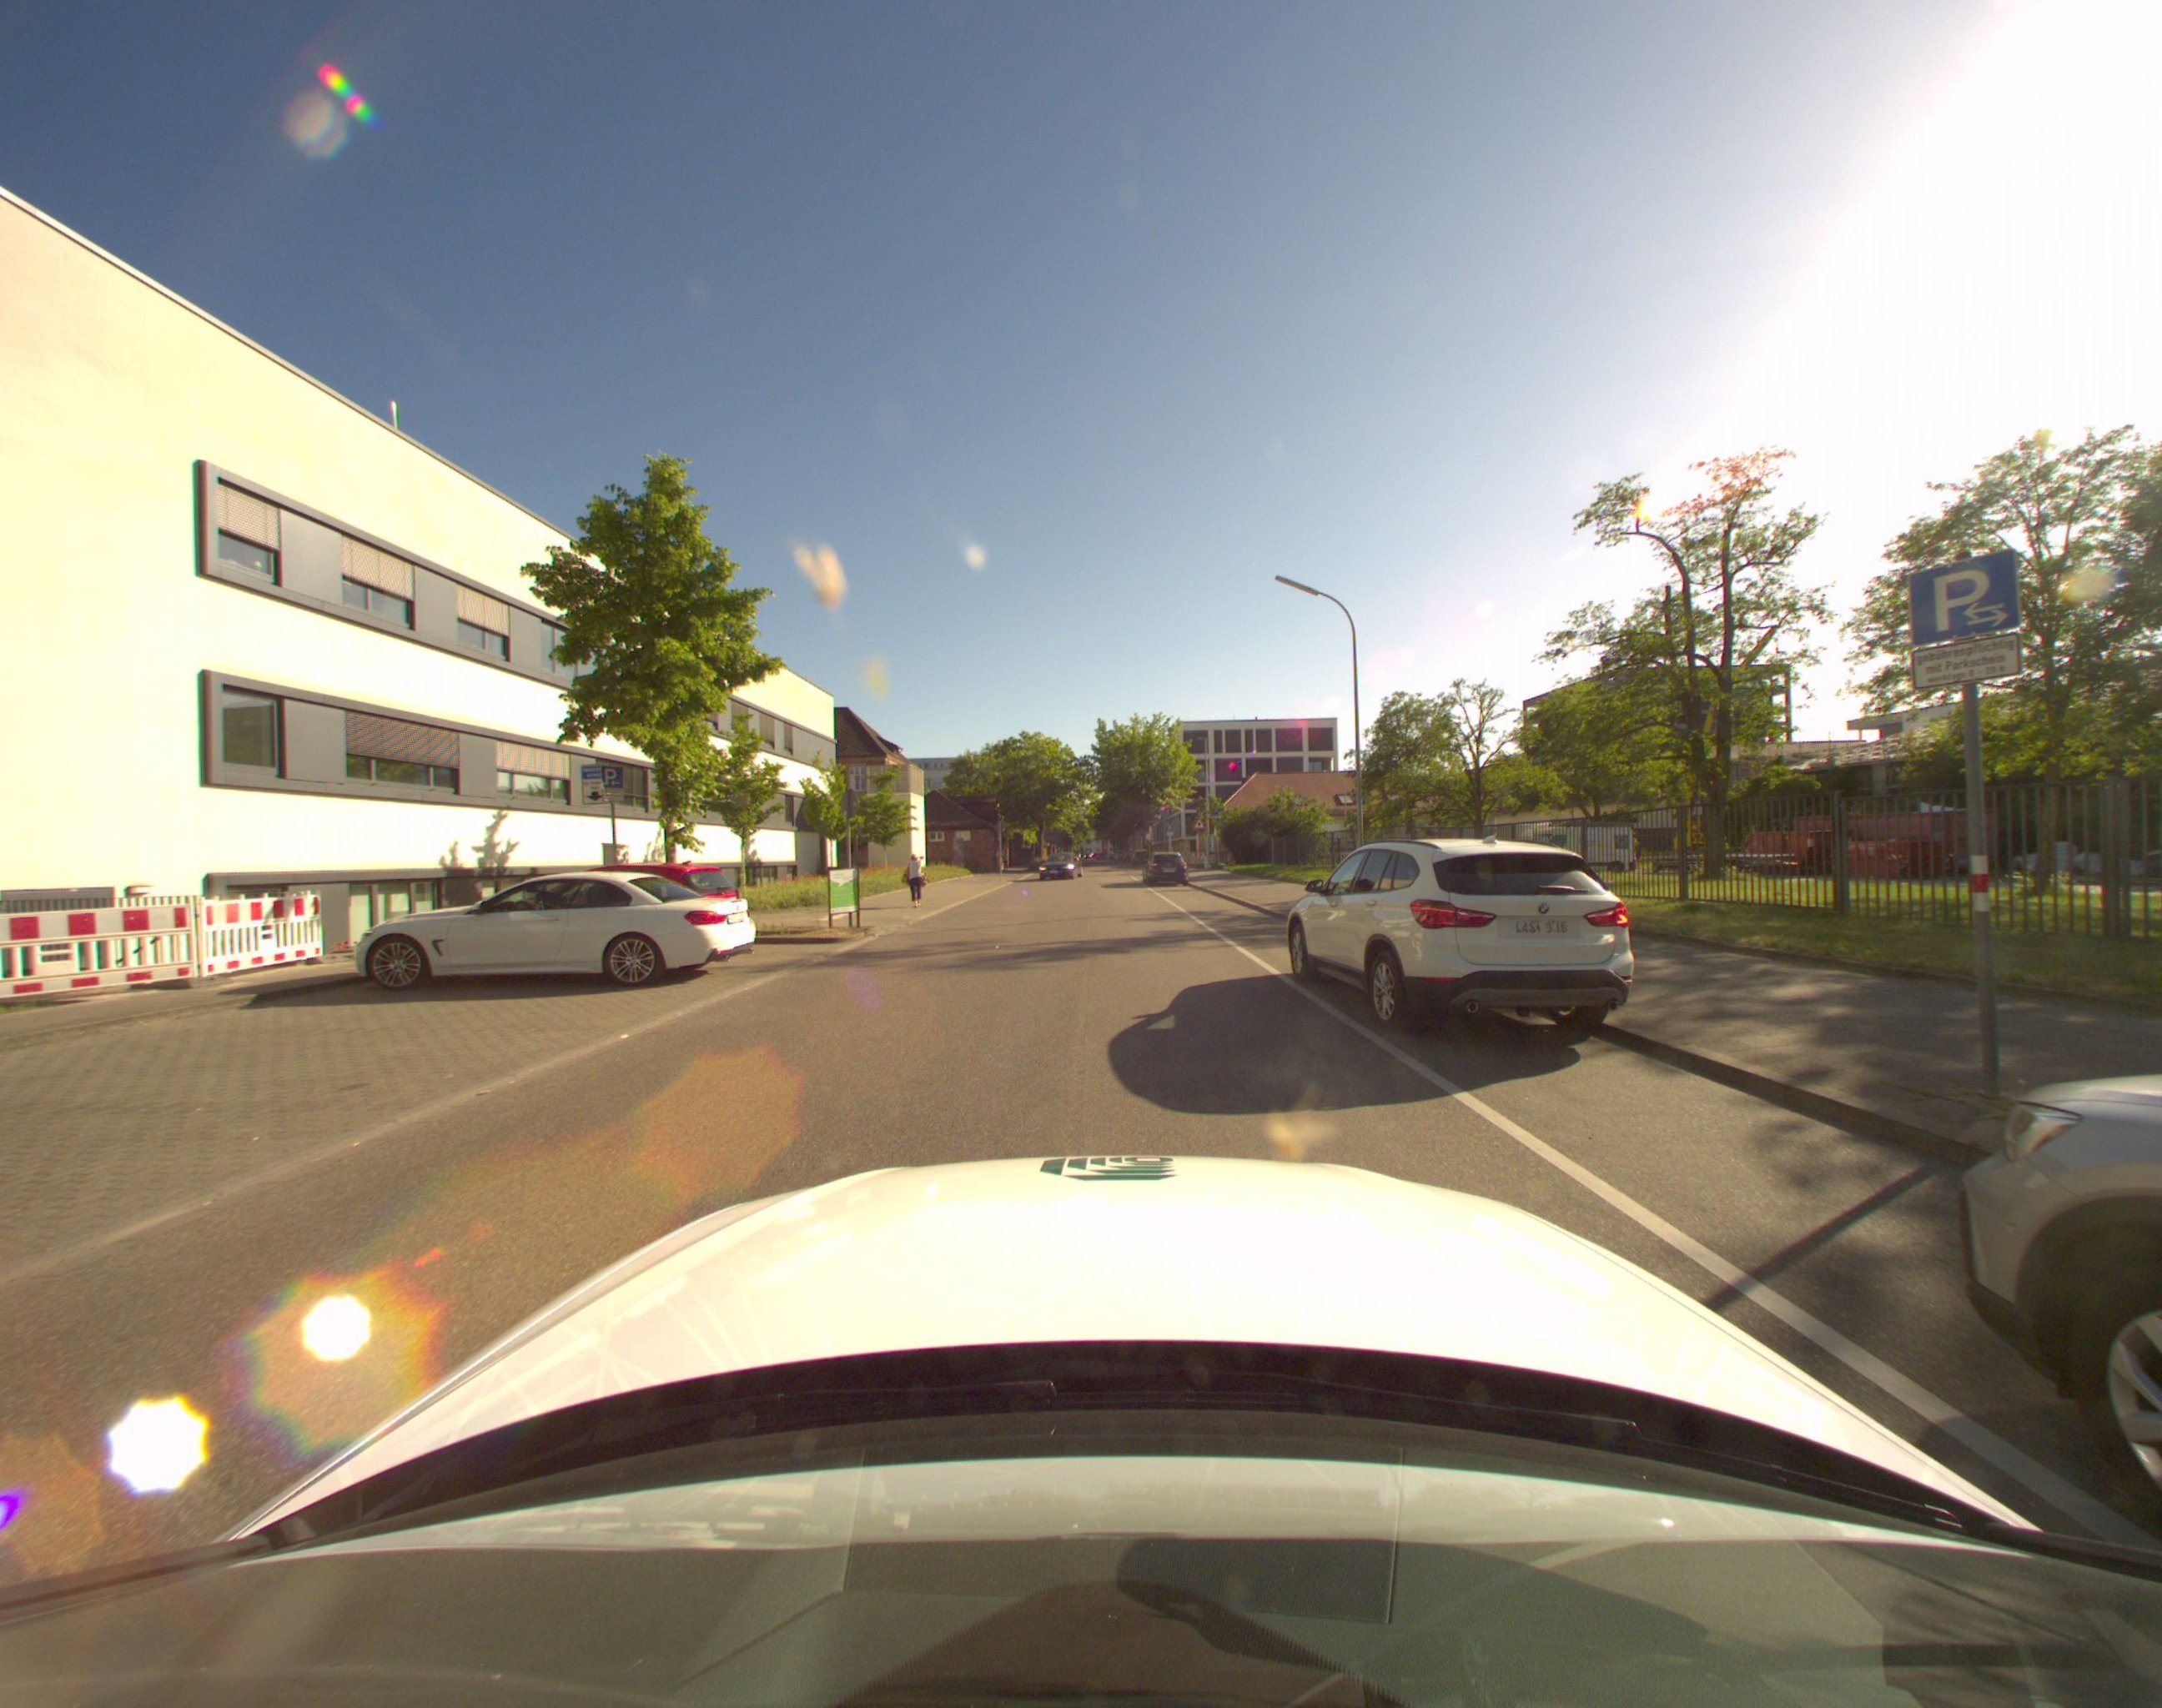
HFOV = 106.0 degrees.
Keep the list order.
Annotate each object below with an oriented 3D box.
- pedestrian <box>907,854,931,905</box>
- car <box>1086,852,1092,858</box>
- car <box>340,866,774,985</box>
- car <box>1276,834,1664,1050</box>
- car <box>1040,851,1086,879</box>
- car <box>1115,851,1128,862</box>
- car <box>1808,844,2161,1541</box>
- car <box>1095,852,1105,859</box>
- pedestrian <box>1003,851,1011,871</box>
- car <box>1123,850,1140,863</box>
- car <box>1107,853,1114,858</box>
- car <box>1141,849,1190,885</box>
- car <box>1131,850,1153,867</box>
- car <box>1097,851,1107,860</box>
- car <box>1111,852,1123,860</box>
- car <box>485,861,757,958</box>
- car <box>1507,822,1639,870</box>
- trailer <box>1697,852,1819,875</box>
[{"bbox_3d":[-4.904,0.763,24.635,0.536,1.524,0.607,-2,0,2],"label":"pedestrian"},{"bbox_3d":[2.078,0.302,219.913,1.647,1.530,4.000,-1,0,1],"label":"car"},{"bbox_3d":[-6.643,0.891,10.730,4.502,1.367,1.698,1,0,-4],"label":"car"},{"bbox_3d":[3.385,0.633,8.131,1.807,1.588,4.260,0,0,-1],"label":"car"},{"bbox_3d":[-0.924,0.571,45.587,1.751,1.442,4.549,-2,0,9],"label":"car"},{"bbox_3d":[6.257,0.414,125.826,1.943,1.578,3.838,-1,0,2],"label":"car"},{"bbox_3d":[3.189,0.730,0.610,1.696,1.487,3.978,0,0,-2],"label":"car"},{"bbox_3d":[3.717,0.270,157.987,1.882,1.400,3.838,-1,0,2],"label":"car"},{"bbox_3d":[-6.005,0.575,65.860,0.519,1.562,1.096,-1,0,0],"label":"pedestrian"},{"bbox_3d":[5.978,0.263,97.043,1.761,1.440,3.999,-2,0,0],"label":"car"},{"bbox_3d":[7.513,0.343,207.039,1.580,1.400,3.838,-1,0,2],"label":"car"},{"bbox_3d":[3.682,0.540,36.023,1.811,1.453,4.216,-2,0,2],"label":"car"},{"bbox_3d":[5.647,0.393,75.524,1.697,1.468,4.789,-1,0,1],"label":"car"},{"bbox_3d":[4.087,0.311,157.753,1.761,1.548,4.065,-2,0,0],"label":"car"},{"bbox_3d":[6.264,0.333,141.907,1.986,1.465,3.838,-1,0,2],"label":"car"},{"bbox_3d":[-7.541,0.881,13.551,3.618,1.469,1.616,0,1,4],"label":"car"},{"bbox_3d":[24.320,-0.412,40.387,5.257,2.202,2.004,-1,1,6],"label":"car"},{"bbox_3d":[30.437,0.401,36.853,1.886,0.919,5.122,-1,0,9],"label":"trailer"}]
